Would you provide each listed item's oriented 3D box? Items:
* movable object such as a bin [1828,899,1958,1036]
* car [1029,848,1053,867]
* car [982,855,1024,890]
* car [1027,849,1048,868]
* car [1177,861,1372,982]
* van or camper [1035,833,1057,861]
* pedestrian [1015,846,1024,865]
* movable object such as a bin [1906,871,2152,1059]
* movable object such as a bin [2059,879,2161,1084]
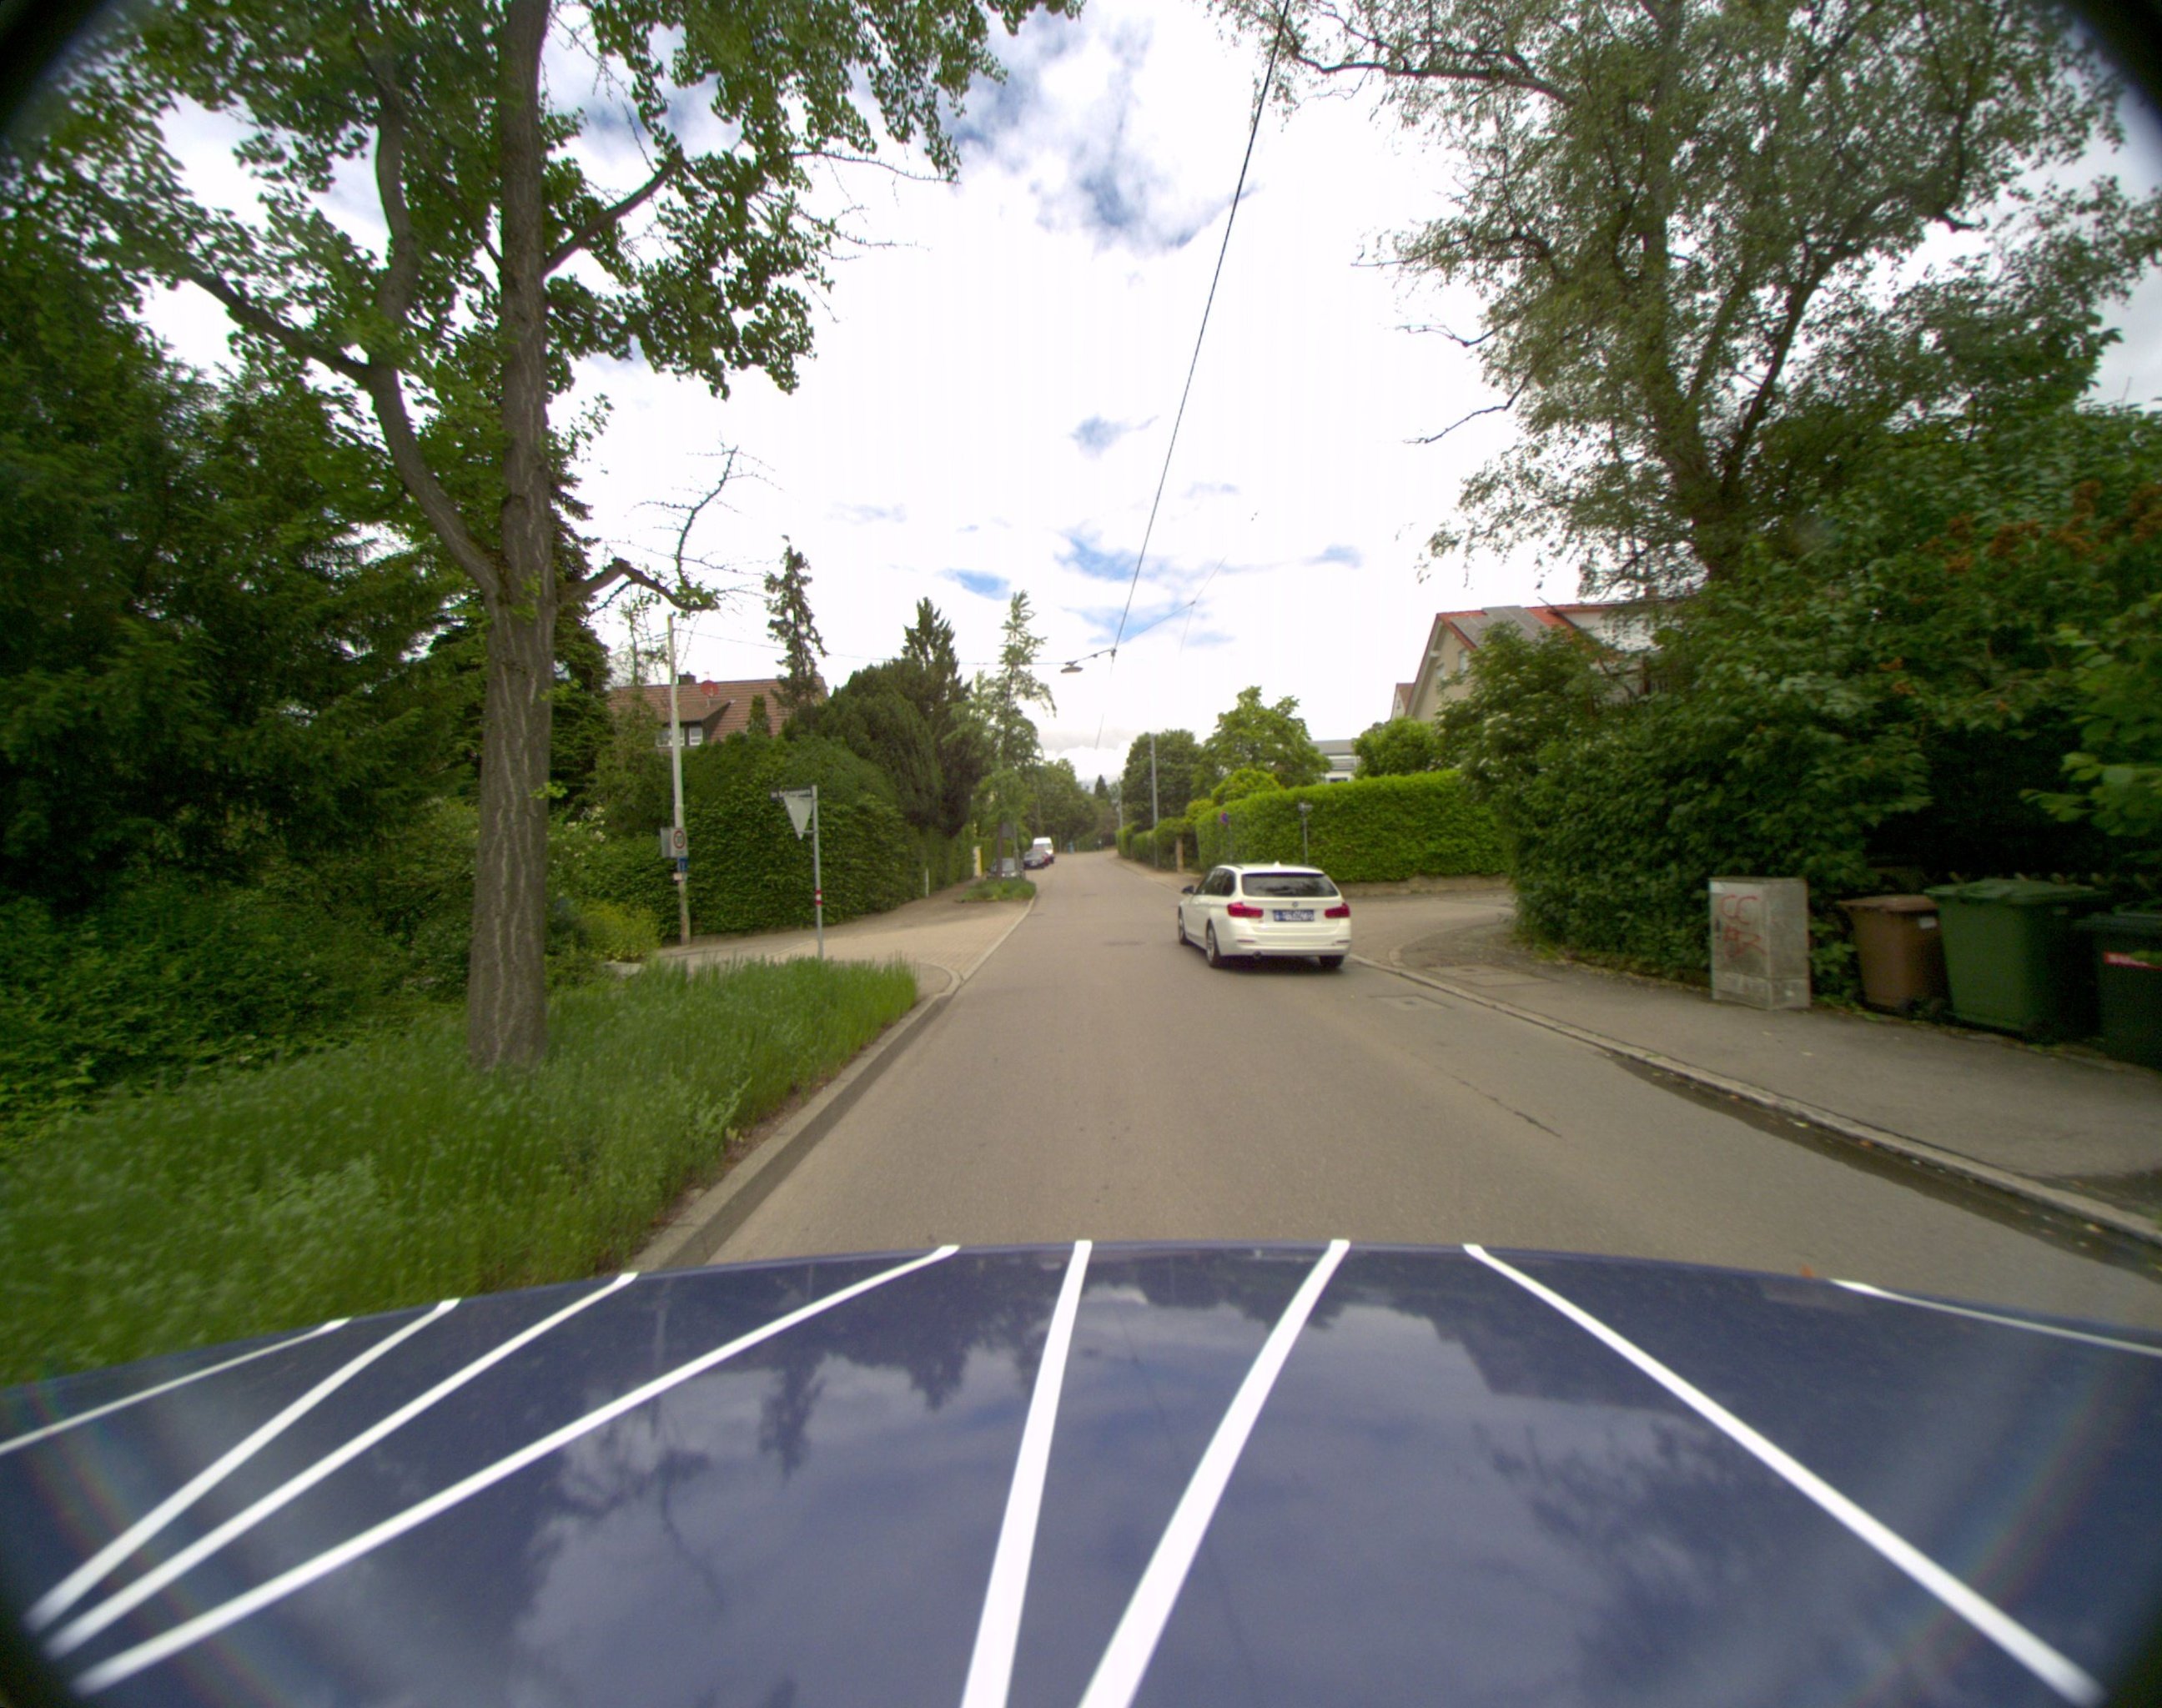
[{"bbox_3d":[6.264,0.856,5.879,0.379,0.945,0.512,-6,1,-3],"label":"movable object such as a bin"},{"bbox_3d":[-3.580,0.260,69.015,1.893,1.572,4.763,-1,1,0],"label":"car"},{"bbox_3d":[-3.743,0.882,37.160,1.628,1.464,3.739,-3,1,-1],"label":"car"},{"bbox_3d":[-3.578,0.334,62.866,1.683,1.399,4.051,-1,1,-3],"label":"car"},{"bbox_3d":[2.645,0.851,11.480,1.810,1.423,4.300,0,0,0],"label":"car"},{"bbox_3d":[-3.568,-0.772,77.565,2.047,2.605,7.035,-4,2,-3],"label":"van or camper"},{"bbox_3d":[-5.415,0.138,67.132,0.671,1.689,0.918,-1,2,1],"label":"pedestrian"},{"bbox_3d":[6.494,0.721,5.247,0.729,1.119,0.722,-6,1,-3],"label":"movable object such as a bin"},{"bbox_3d":[6.564,0.746,4.501,0.729,1.110,0.585,-6,1,-4],"label":"movable object such as a bin"}]
